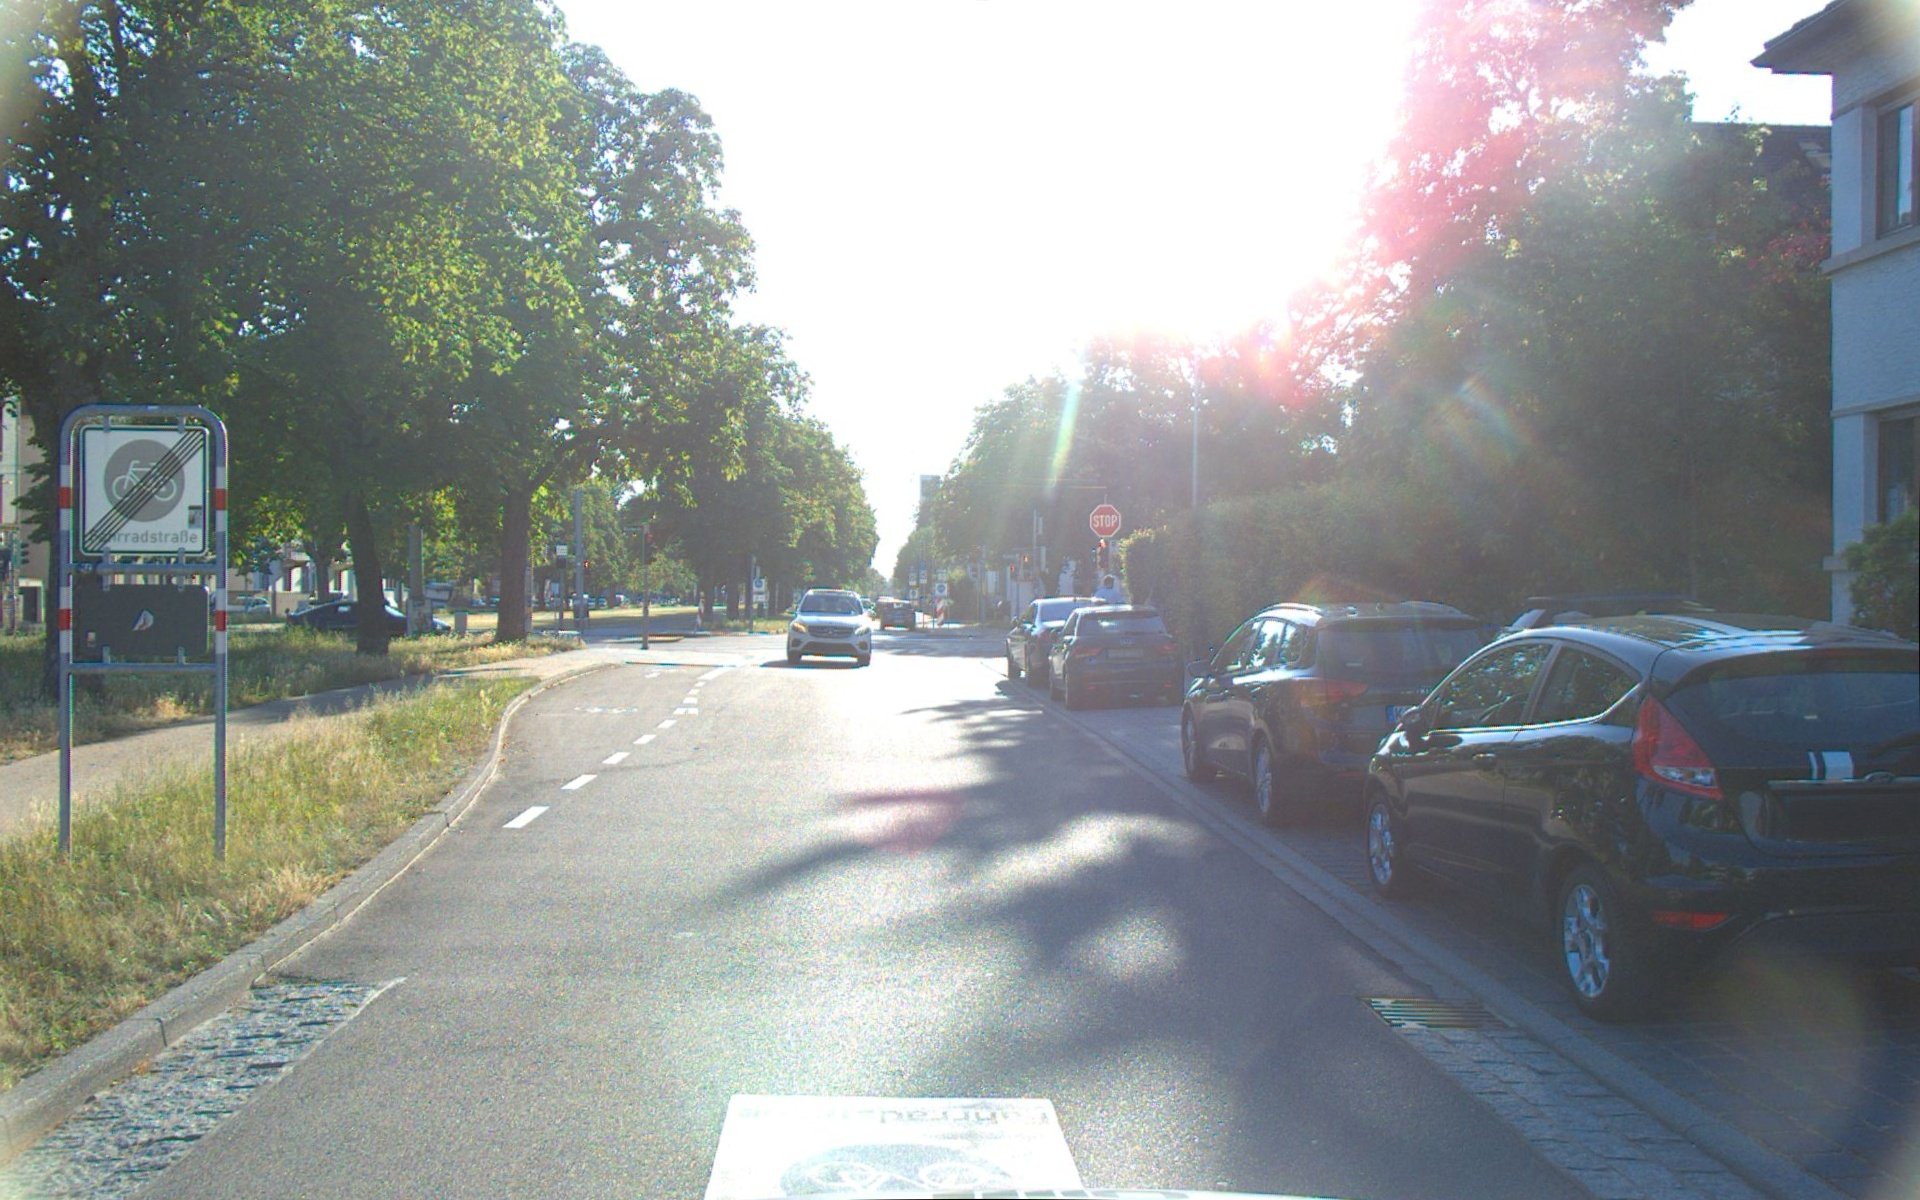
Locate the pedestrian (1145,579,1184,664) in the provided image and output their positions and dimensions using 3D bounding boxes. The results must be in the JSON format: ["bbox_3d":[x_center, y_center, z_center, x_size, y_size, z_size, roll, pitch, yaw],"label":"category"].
[{"bbox_3d":[4.211,0.442,34.075,0.656,1.738,0.622,1,0,-5],"label":"pedestrian"}]

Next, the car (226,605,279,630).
[{"bbox_3d":[-46.343,1.115,108.410,1.701,1.452,3.794,0,2,3],"label":"car"}]

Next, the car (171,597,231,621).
[{"bbox_3d":[-46.751,0.553,101.934,1.701,1.422,3.794,0,0,4],"label":"car"}]

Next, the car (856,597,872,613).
[{"bbox_3d":[-12.985,0.668,224.226,2.091,2.049,3.900,0,0,-2],"label":"car"}]

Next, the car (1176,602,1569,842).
[{"bbox_3d":[2.882,0.778,12.538,1.711,1.500,4.252,0,0,-3],"label":"car"}]

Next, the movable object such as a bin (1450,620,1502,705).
[{"bbox_3d":[6.559,0.792,21.048,0.498,1.061,0.416,0,0,-8],"label":"movable object such as a bin"}]

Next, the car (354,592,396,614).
[{"bbox_3d":[-41.579,0.188,117.628,1.703,1.452,3.791,0,2,-2],"label":"car"}]

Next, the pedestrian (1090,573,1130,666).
[{"bbox_3d":[3.098,0.395,34.184,0.657,1.898,0.880,1,0,-6],"label":"pedestrian"}]

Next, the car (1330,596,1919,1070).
[{"bbox_3d":[3.099,0.769,7.541,1.684,1.497,3.981,-2,0,-3],"label":"car"}]

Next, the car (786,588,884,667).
[{"bbox_3d":[-2.819,0.592,38.243,1.852,1.706,4.425,0,0,1],"label":"car"}]

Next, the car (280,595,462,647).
[{"bbox_3d":[-16.863,0.599,47.536,4.679,1.459,1.810,0,0,-11],"label":"car"}]

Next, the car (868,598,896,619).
[{"bbox_3d":[-5.401,0.580,114.784,1.808,1.418,3.827,1,0,-2],"label":"car"}]

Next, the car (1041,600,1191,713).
[{"bbox_3d":[2.206,0.765,24.298,1.608,1.452,3.934,-2,0,-3],"label":"car"}]

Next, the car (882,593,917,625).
[{"bbox_3d":[-2.930,0.425,80.887,1.607,1.476,3.307,0,0,0],"label":"car"}]

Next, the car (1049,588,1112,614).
[{"bbox_3d":[7.457,0.033,102.532,3.704,1.552,1.743,0,1,-3],"label":"car"}]

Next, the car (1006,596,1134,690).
[{"bbox_3d":[1.920,0.715,30.225,1.821,1.569,4.871,0,0,-2],"label":"car"}]

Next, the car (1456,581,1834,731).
[{"bbox_3d":[7.753,0.599,18.942,3.561,1.522,1.780,-2,0,-3],"label":"car"}]

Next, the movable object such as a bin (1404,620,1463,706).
[{"bbox_3d":[6.013,0.792,21.026,0.498,1.061,0.658,0,0,-8],"label":"movable object such as a bin"}]
